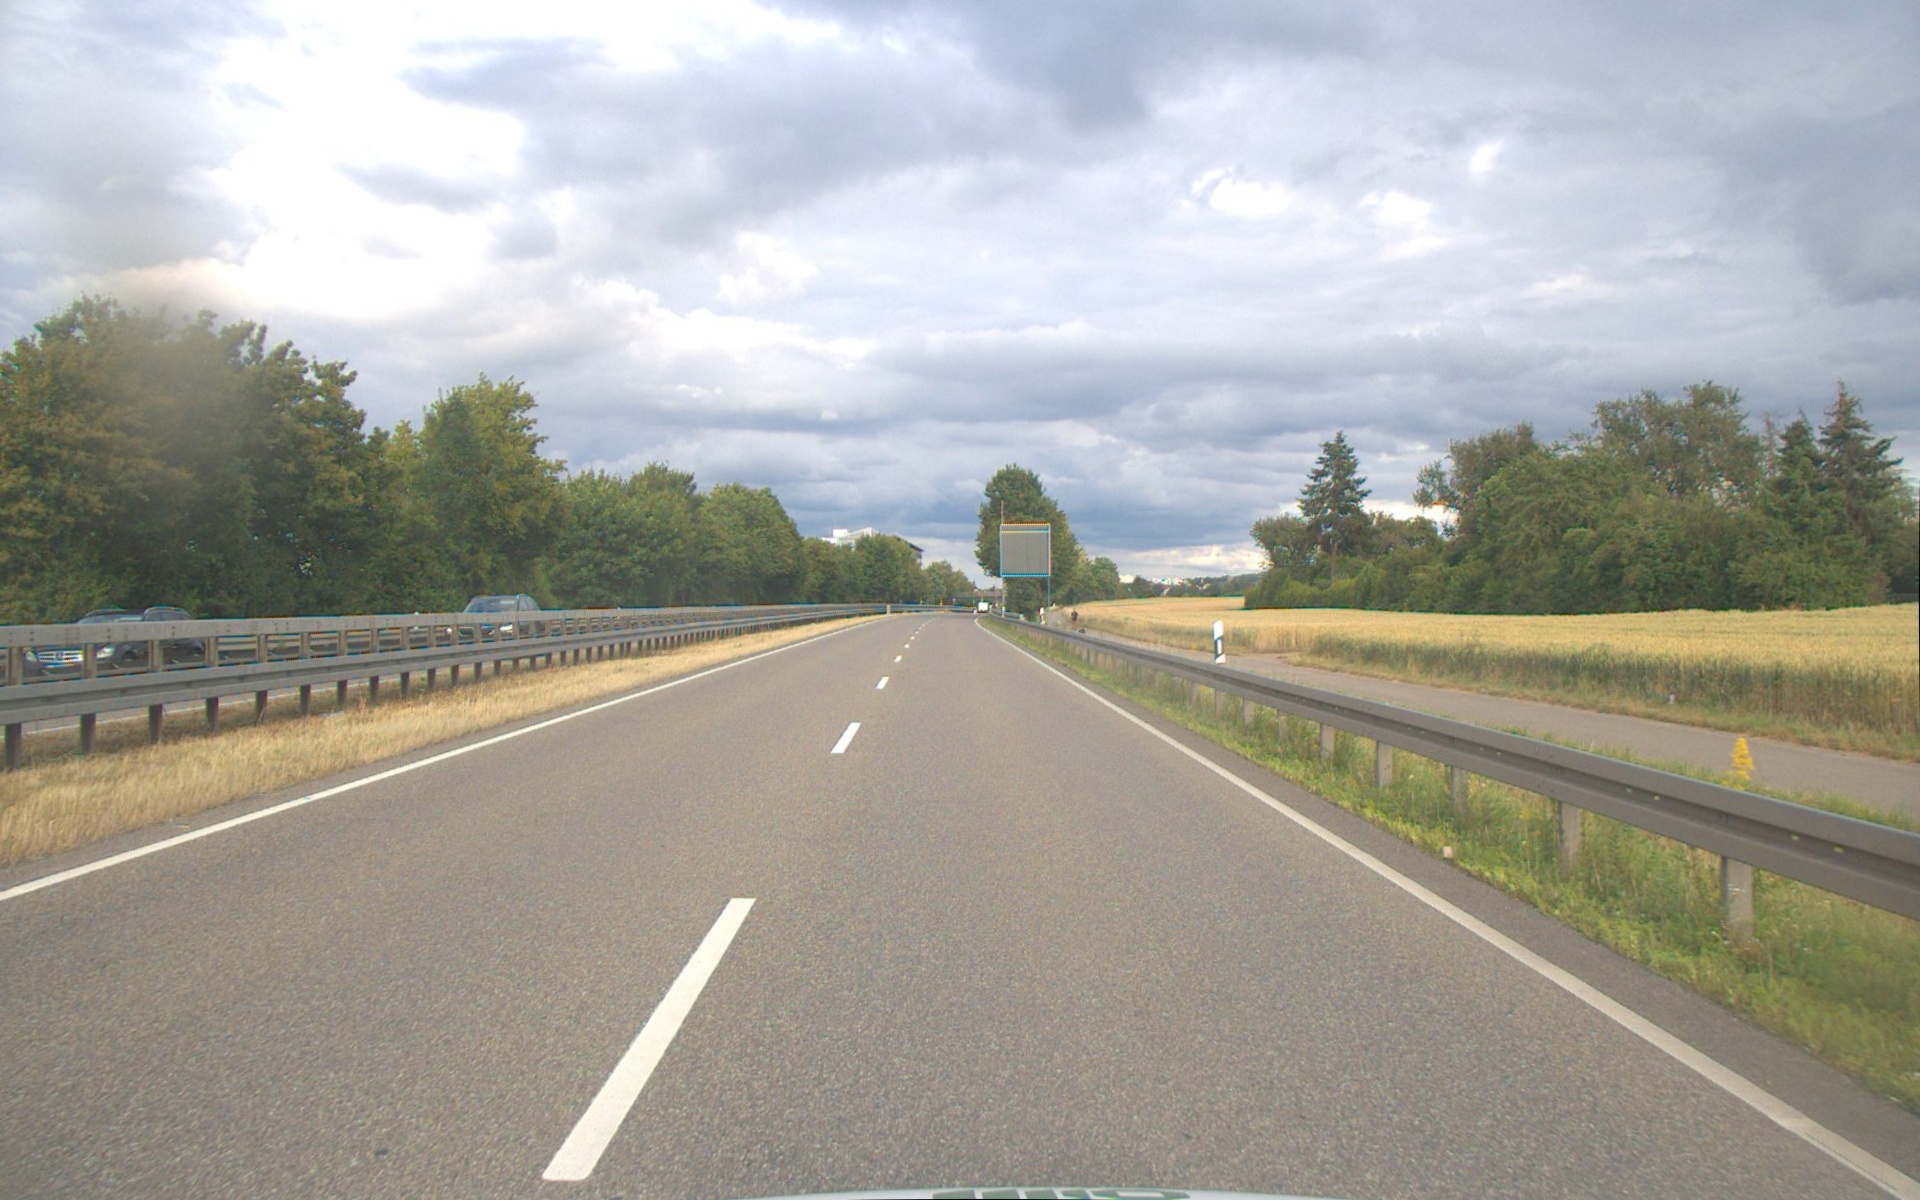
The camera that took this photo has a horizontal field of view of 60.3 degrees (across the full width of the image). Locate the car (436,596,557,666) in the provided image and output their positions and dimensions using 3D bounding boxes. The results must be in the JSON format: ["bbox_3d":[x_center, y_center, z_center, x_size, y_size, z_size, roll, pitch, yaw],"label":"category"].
[{"bbox_3d":[-11.828,0.752,42.505,1.760,1.654,4.483,-2,0,0],"label":"car"}]

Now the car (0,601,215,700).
[{"bbox_3d":[-15.781,0.872,30.732,1.760,1.654,4.483,-2,0,0],"label":"car"}]

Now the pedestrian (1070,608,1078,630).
[{"bbox_3d":[8.892,1.495,129.122,0.589,1.695,0.542,1,-1,-3],"label":"pedestrian"}]
